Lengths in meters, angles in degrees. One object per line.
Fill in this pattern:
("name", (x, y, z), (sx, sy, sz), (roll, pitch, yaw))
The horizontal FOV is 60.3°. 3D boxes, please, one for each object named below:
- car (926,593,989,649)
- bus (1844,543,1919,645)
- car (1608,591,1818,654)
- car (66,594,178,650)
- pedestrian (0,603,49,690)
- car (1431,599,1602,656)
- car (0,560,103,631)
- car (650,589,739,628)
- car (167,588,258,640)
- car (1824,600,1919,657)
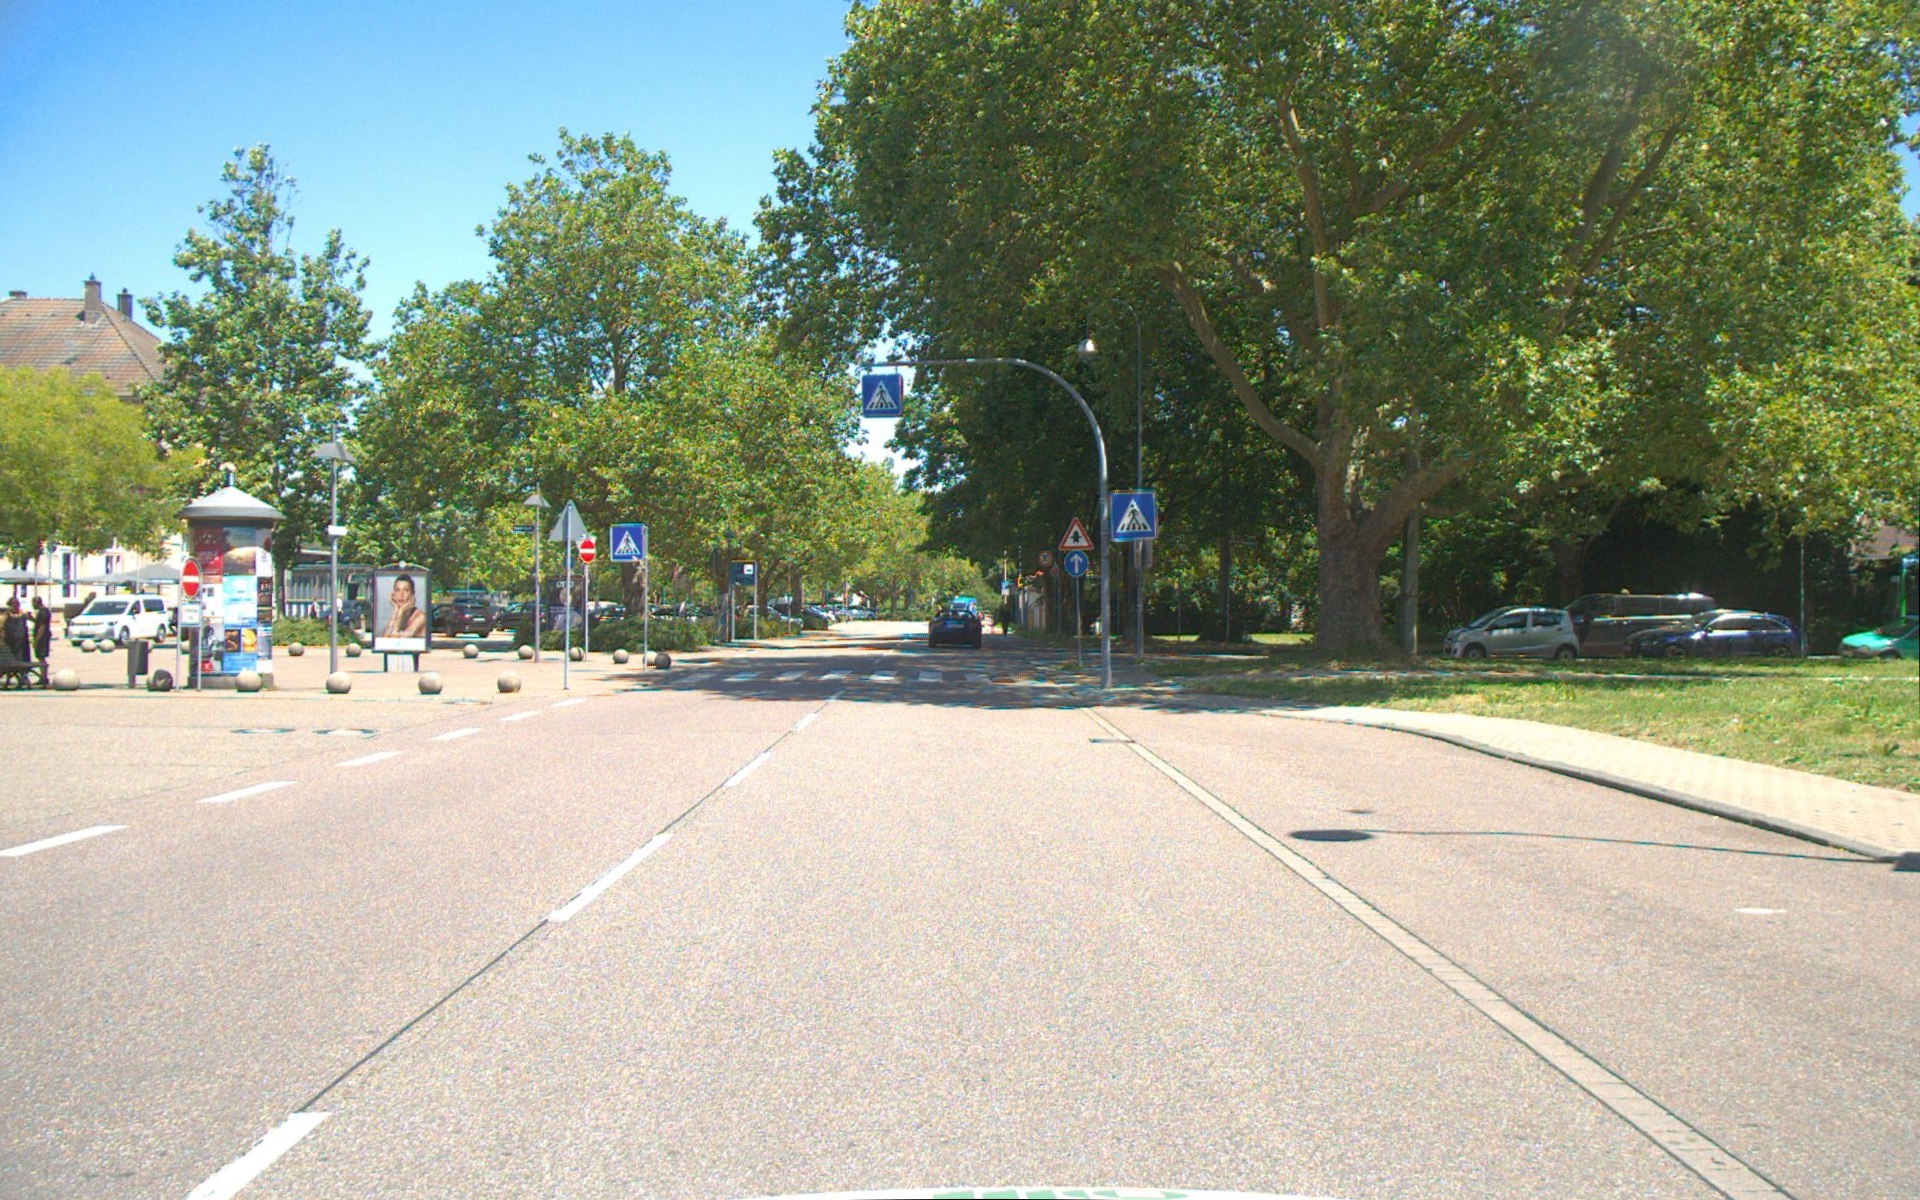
("car", (-0.124, 0.740, 58.433), (2.082, 1.881, 4.046), (1, 0, -2))
("bus", (33.698, -0.181, 50.623), (12.126, 3.030, 2.268), (0, -1, -1))
("car", (20.203, 0.598, 44.531), (4.723, 1.636, 2.001), (0, 0, 3))
("car", (-30.581, 0.819, 60.495), (1.715, 1.951, 4.774), (0, -1, -1))
("pedestrian", (-18.454, 0.912, 32.413), (0.744, 1.688, 0.721), (-1, -2, 16))
("car", (15.074, 0.739, 44.948), (4.019, 1.492, 2.001), (0, 0, 2))
("car", (-33.994, -0.150, 61.496), (1.684, 2.511, 5.003), (1, 0, -2))
("car", (-12.692, 0.404, 79.060), (3.926, 1.813, 1.989), (0, -2, -19))
("car", (-30.477, 0.558, 67.572), (1.953, 2.049, 3.999), (0, 0, -1))
("car", (25.730, 0.777, 44.647), (3.801, 1.479, 2.000), (1, -1, 1))
